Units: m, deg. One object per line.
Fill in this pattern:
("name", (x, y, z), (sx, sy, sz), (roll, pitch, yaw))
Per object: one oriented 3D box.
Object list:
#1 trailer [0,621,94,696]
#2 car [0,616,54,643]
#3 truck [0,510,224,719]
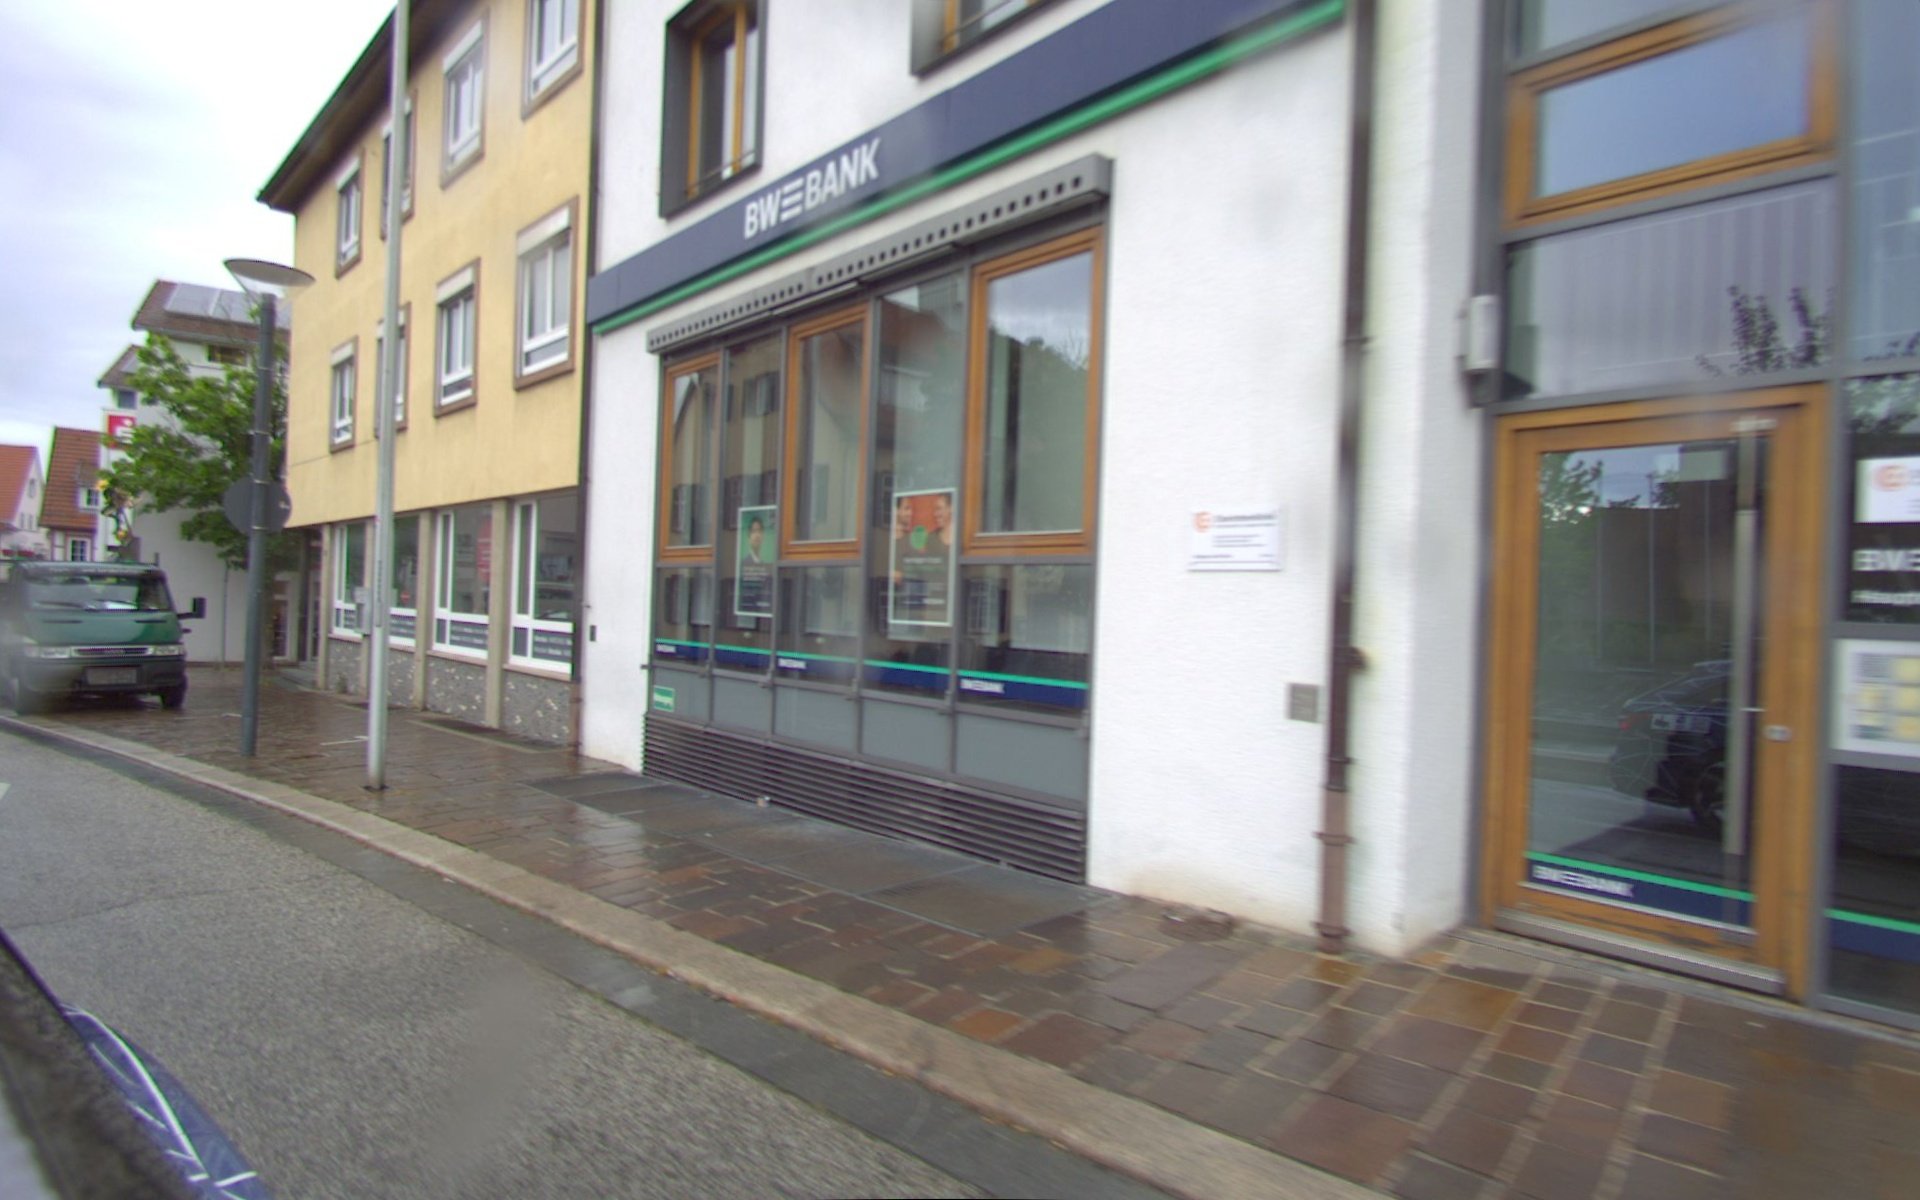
("trailer", (-18.395, 1.116, 19.761), (3.157, 1.357, 1.710), (-2, -4, 40))
("car", (-56.221, 1.727, 60.809), (1.966, 1.541, 4.011), (-1, 0, -32))
("truck", (-14.674, 0.314, 16.713), (6.593, 2.816, 2.448), (-2, -4, 40))
